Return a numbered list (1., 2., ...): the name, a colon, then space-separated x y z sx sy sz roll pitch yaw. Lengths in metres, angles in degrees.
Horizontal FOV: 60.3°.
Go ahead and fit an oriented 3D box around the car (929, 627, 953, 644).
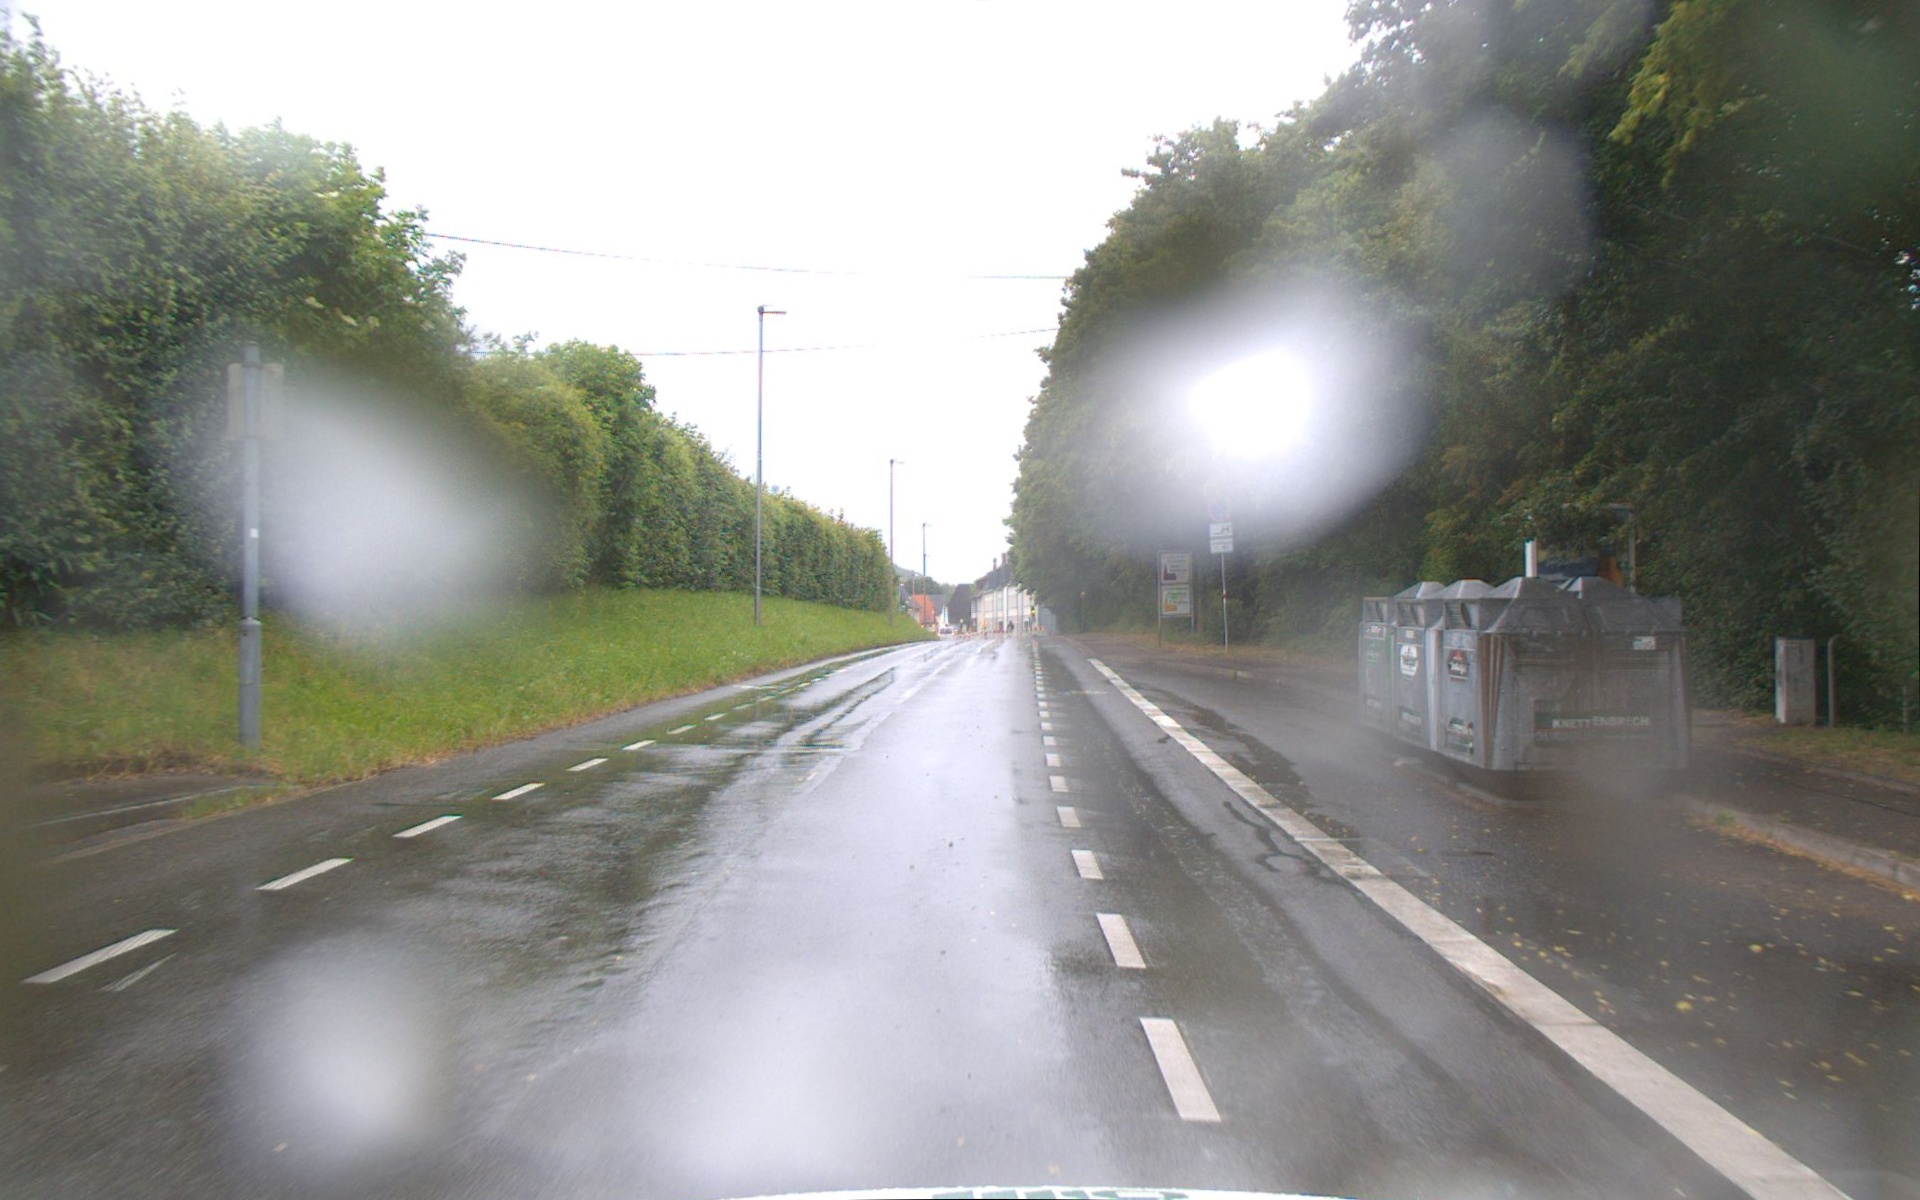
1. car: -1.974 3.632 169.408 1.956 1.639 3.994 2 0 -7
